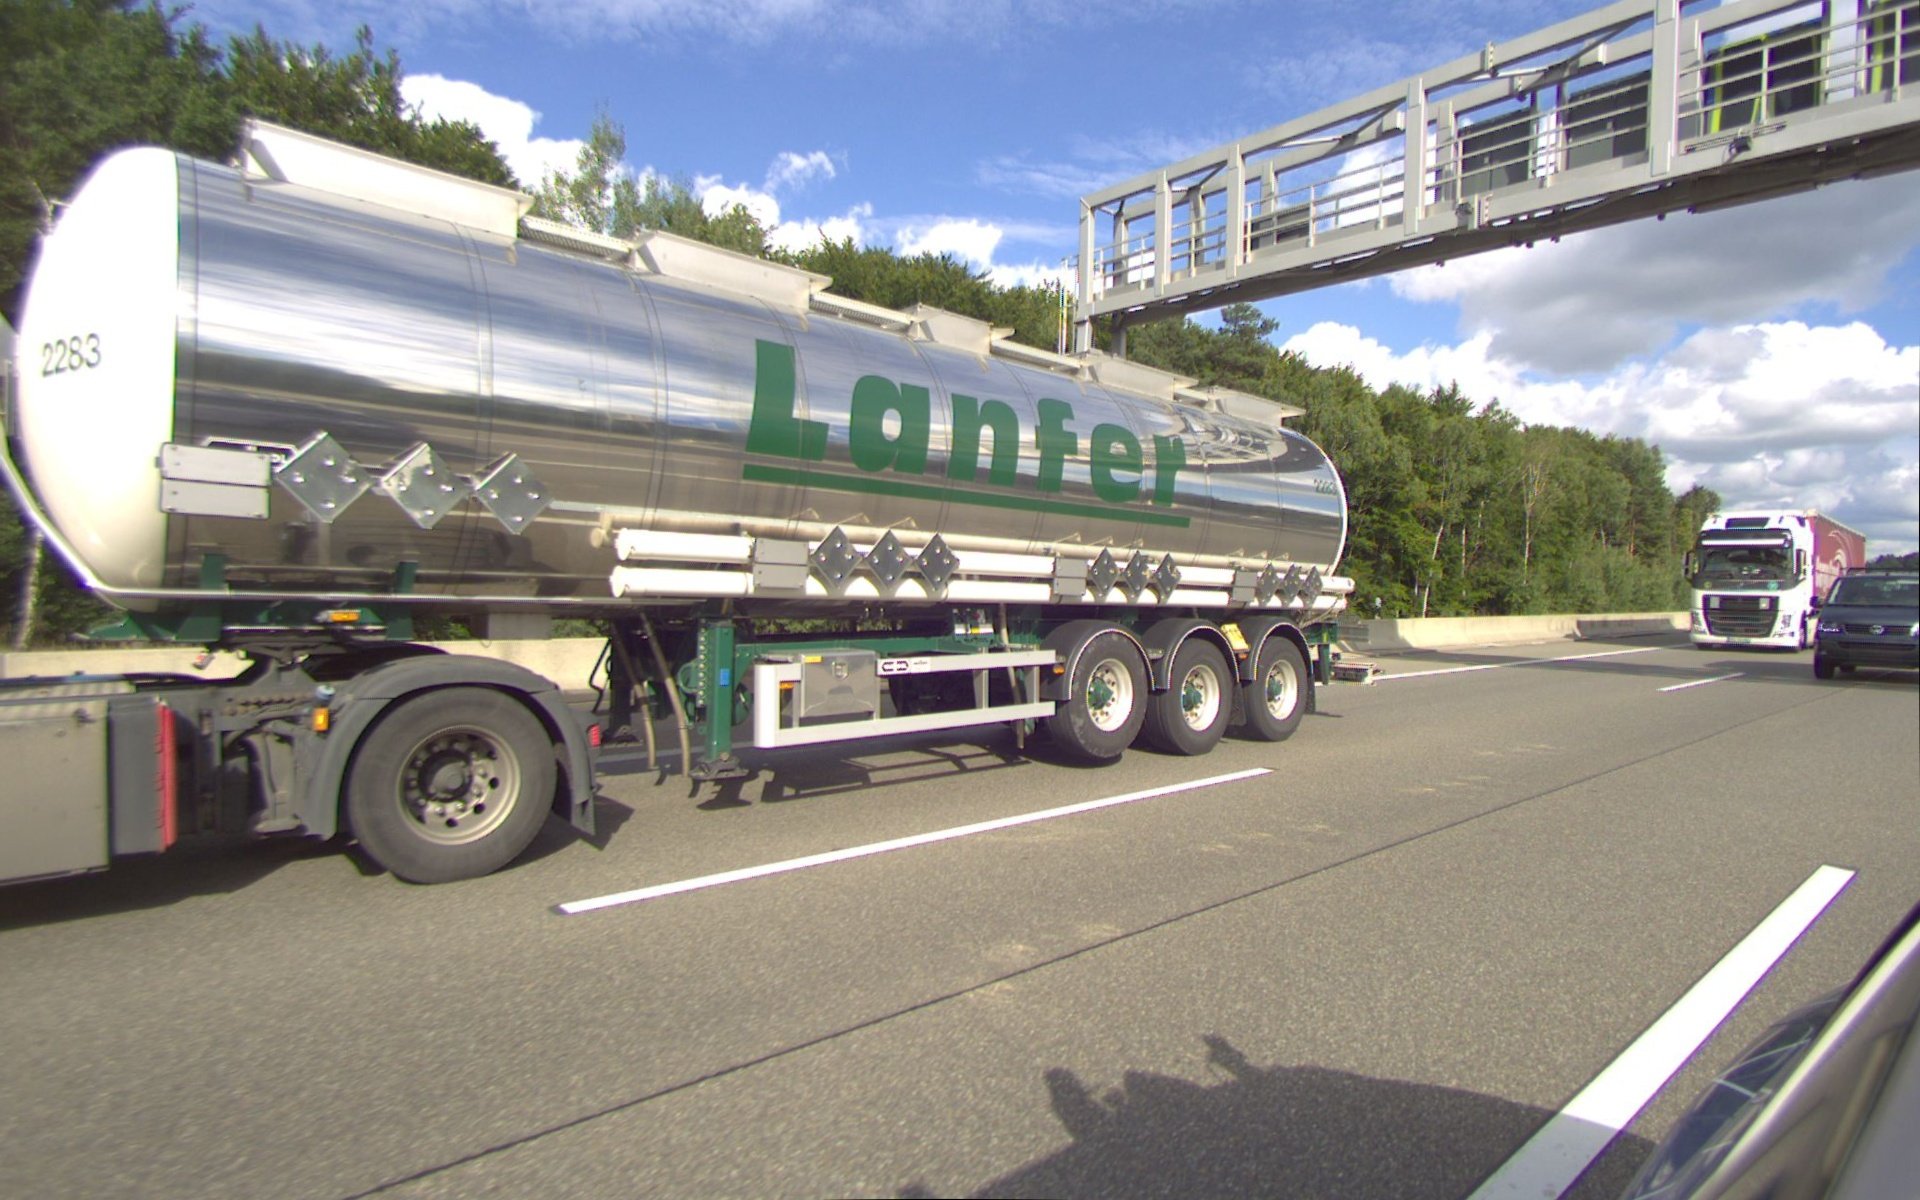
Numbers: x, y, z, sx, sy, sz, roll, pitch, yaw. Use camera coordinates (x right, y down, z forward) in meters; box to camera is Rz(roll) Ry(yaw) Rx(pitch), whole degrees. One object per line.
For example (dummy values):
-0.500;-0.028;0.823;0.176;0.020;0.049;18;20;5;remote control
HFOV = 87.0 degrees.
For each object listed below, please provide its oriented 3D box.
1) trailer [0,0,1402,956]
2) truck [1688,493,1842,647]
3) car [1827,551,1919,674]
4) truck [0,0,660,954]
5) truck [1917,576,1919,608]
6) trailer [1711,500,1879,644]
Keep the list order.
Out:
-0.327;-0.564;8.584;11.651;3.814;2.654;0;1;-41;trailer
23.857;-0.815;29.887;5.676;4.096;2.777;0;1;-43;truck
18.291;0.204;19.437;4.847;2.136;1.852;0;0;-42;car
-4.808;-0.593;4.710;5.975;3.871;2.654;0;1;-41;truck
115.233;-0.882;119.573;3.010;3.730;7.444;2;1;43;truck
28.784;-0.834;34.531;13.483;4.096;2.777;0;1;-43;trailer
